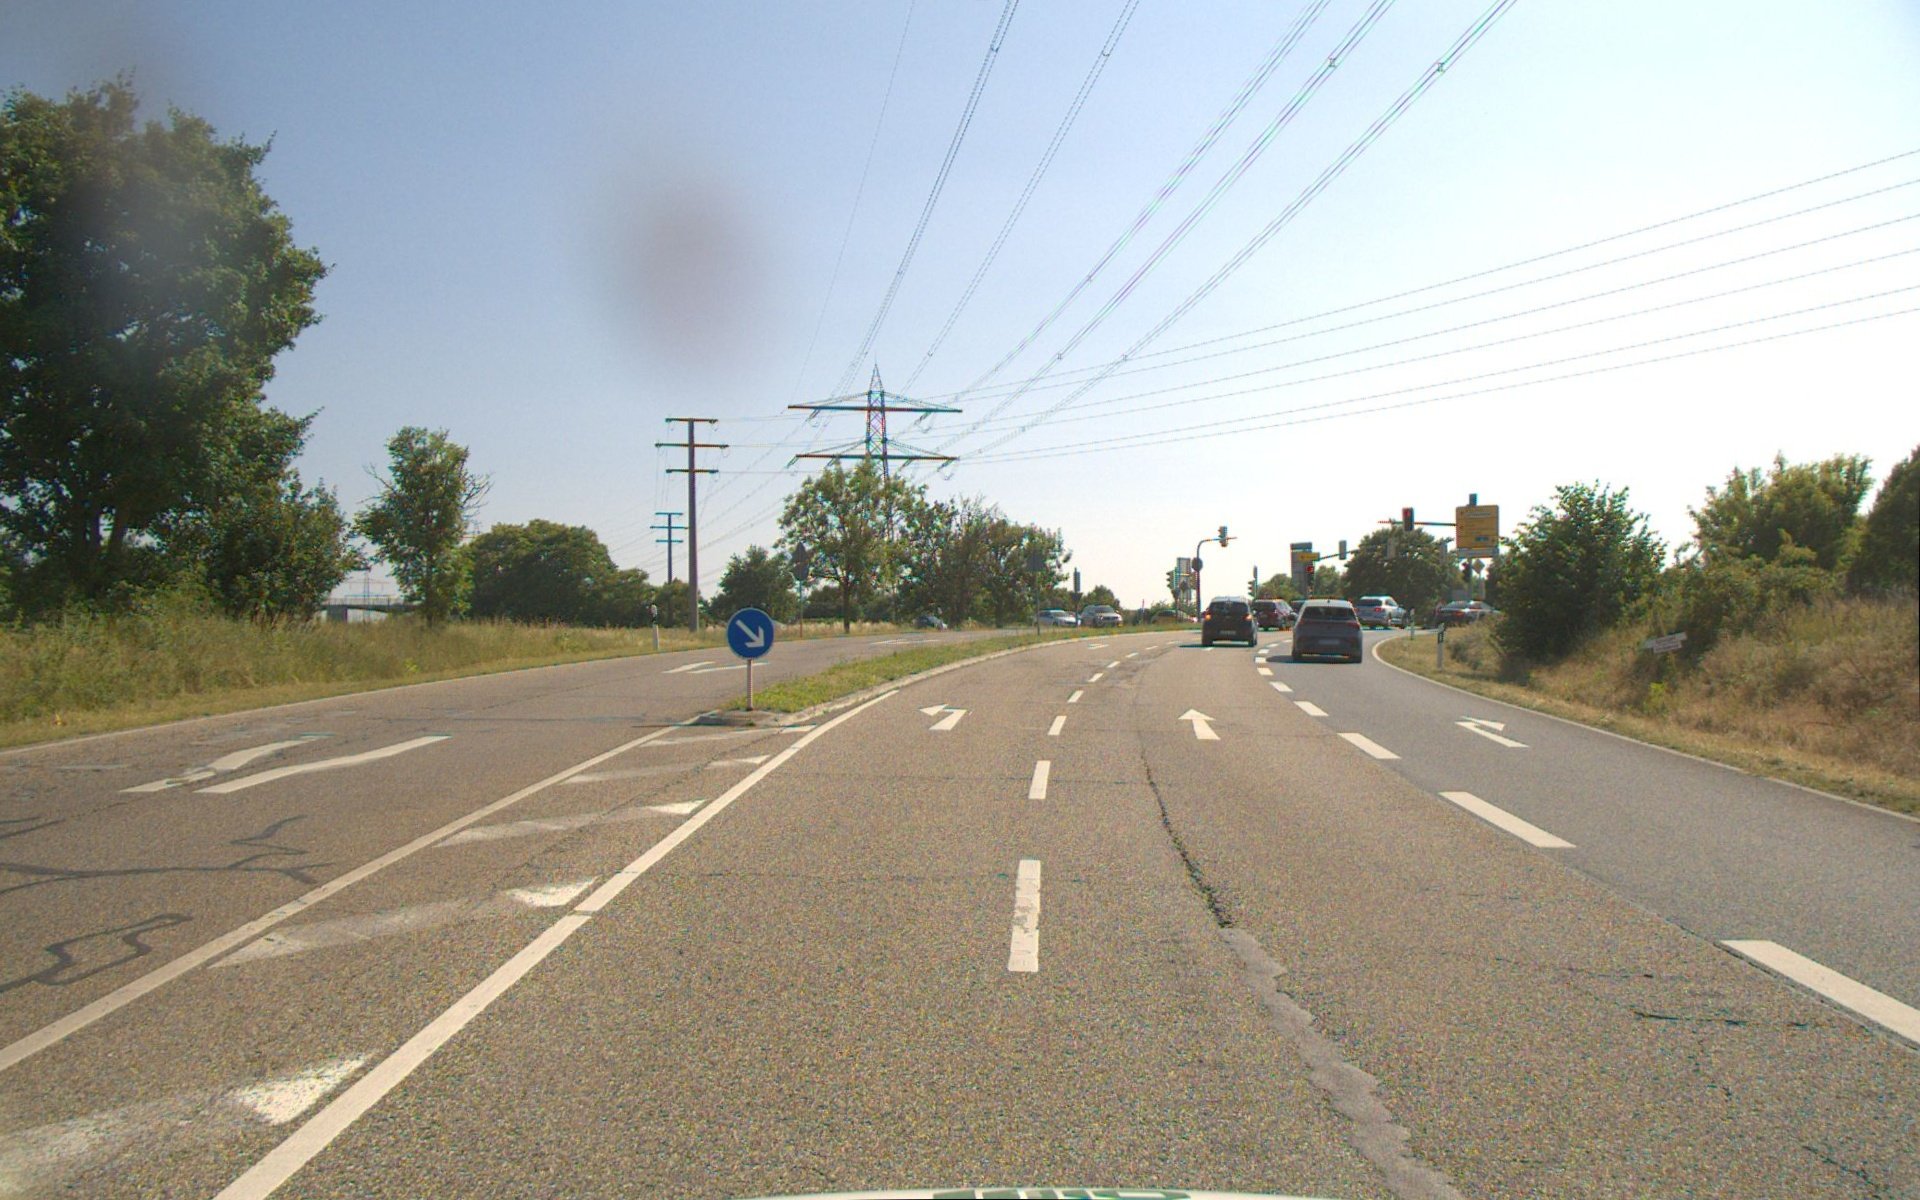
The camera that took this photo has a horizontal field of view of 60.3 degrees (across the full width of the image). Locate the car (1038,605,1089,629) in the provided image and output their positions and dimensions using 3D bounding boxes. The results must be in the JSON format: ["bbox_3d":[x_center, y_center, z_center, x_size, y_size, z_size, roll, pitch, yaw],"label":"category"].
[{"bbox_3d":[7.245,1.210,116.247,1.793,1.680,3.963,0,-1,-28],"label":"car"}]

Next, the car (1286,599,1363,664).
[{"bbox_3d":[9.390,0.781,42.862,1.735,1.544,4.103,1,0,10],"label":"car"}]

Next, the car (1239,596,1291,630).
[{"bbox_3d":[14.891,0.649,80.688,1.707,1.596,3.623,1,0,23],"label":"car"}]

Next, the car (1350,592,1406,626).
[{"bbox_3d":[21.455,0.484,84.825,1.605,1.706,3.737,0,-1,35],"label":"car"}]

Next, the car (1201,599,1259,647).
[{"bbox_3d":[8.653,0.715,52.859,1.598,1.473,3.297,0,0,13],"label":"car"}]

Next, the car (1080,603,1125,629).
[{"bbox_3d":[9.362,1.052,108.957,1.783,1.680,3.985,0,-1,-14],"label":"car"}]

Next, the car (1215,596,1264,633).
[{"bbox_3d":[12.485,0.630,73.751,1.705,1.596,3.626,1,0,16],"label":"car"}]

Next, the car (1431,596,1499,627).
[{"bbox_3d":[24.741,0.537,80.974,1.617,1.410,3.976,-2,0,42],"label":"car"}]

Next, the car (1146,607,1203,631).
[{"bbox_3d":[15.318,1.376,118.250,1.802,1.680,3.943,0,-1,-39],"label":"car"}]
